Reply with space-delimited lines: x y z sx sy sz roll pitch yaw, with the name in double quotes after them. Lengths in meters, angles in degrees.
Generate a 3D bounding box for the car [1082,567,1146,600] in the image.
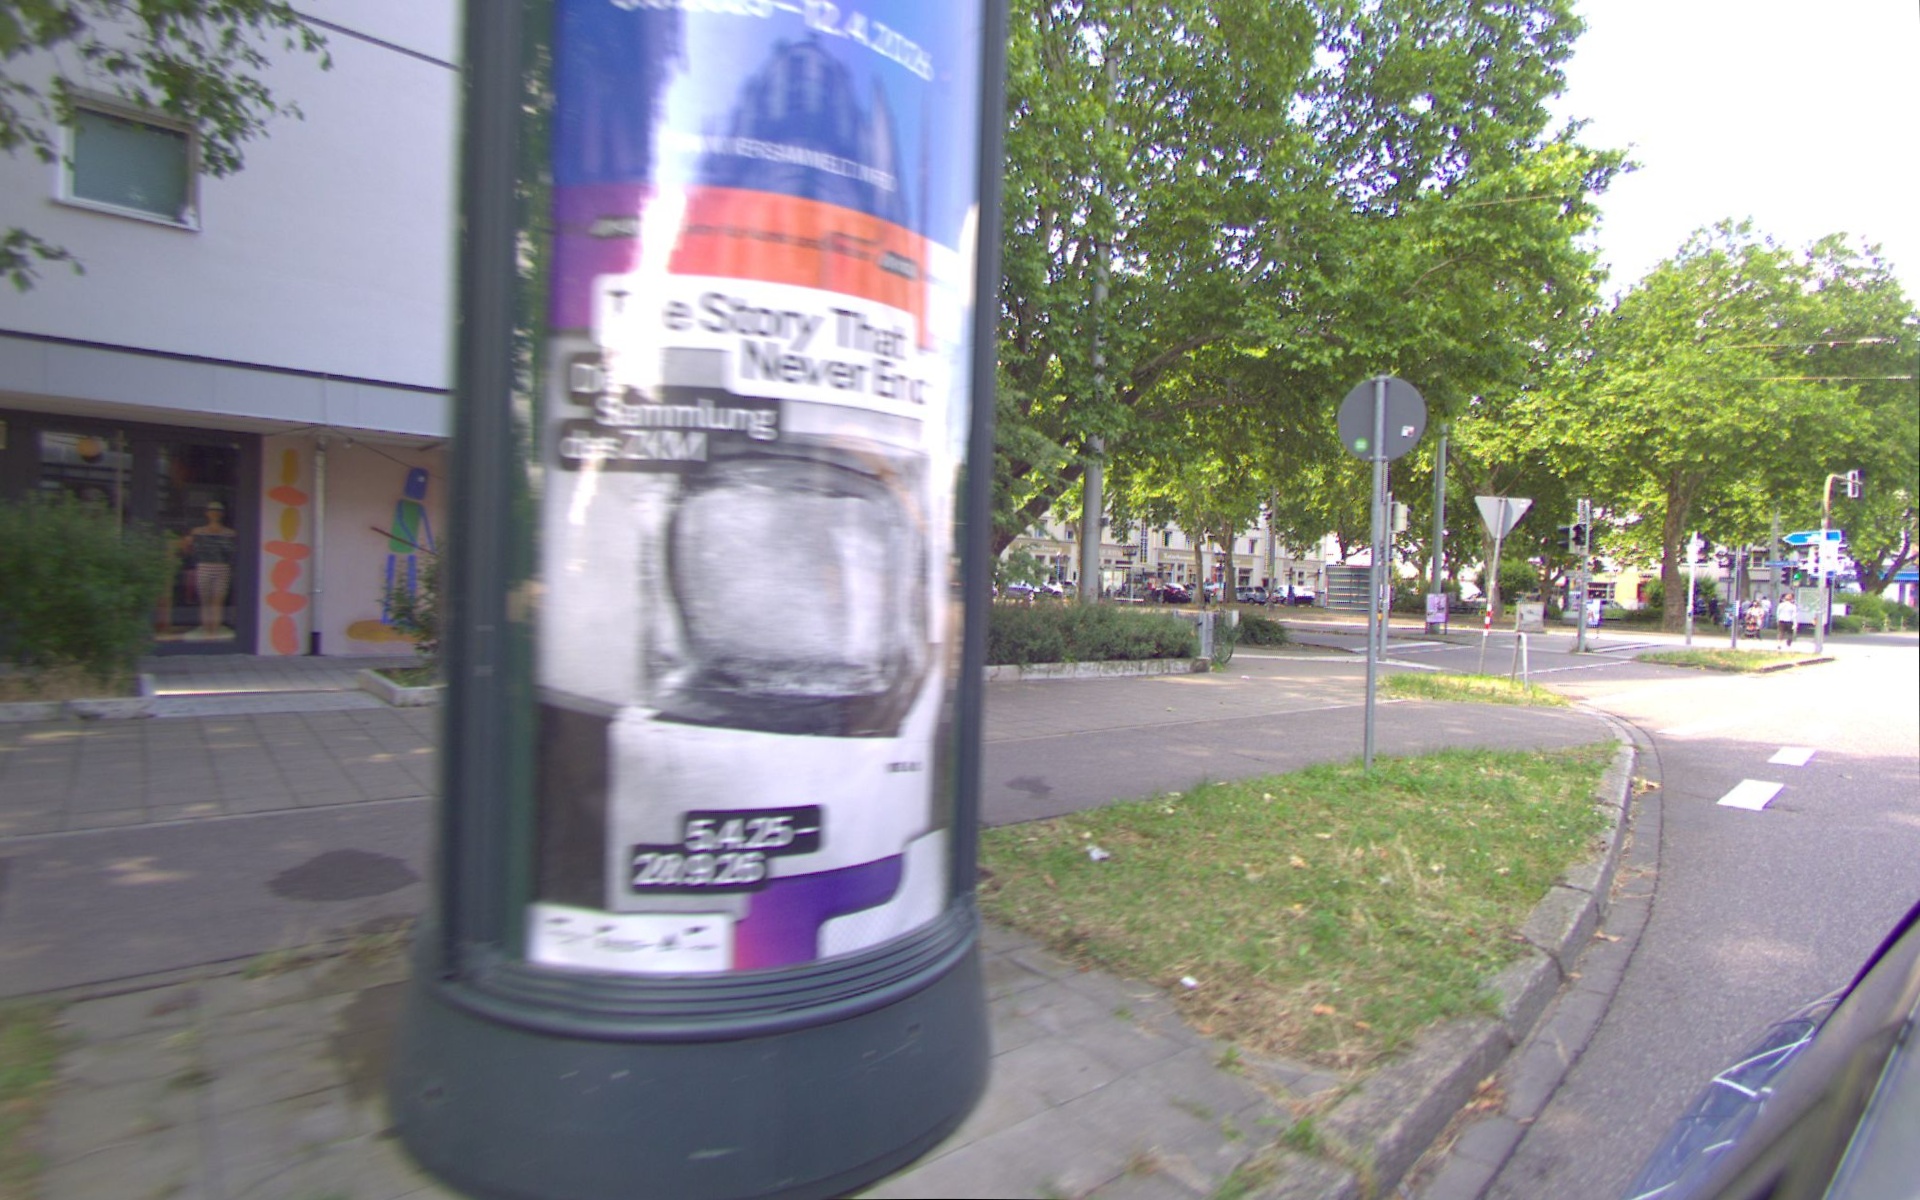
10.827 -1.181 71.415 1.964 2.210 4.254 1 1 -39 "car"

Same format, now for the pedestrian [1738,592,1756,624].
44.614 0.454 57.397 0.600 1.772 0.692 2 1 27 "pedestrian"

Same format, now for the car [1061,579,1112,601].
8.693 -0.678 69.796 3.226 1.406 1.447 3 1 44 "car"

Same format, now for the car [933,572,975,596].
-0.483 -1.215 76.938 1.445 1.687 3.060 1 1 -43 "car"

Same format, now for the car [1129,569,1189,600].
14.692 -1.152 74.702 1.964 2.102 3.997 1 1 -39 "car"

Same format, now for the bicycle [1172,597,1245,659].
4.432 0.476 18.173 0.523 1.022 1.732 2 1 -13 "bicycle"

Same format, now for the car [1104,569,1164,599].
12.594 -1.179 73.423 1.964 2.102 3.997 1 1 -39 "car"

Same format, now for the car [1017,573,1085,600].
6.179 -0.928 68.972 1.878 1.711 4.532 1 2 -41 "car"

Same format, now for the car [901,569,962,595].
-2.161 -1.328 75.301 1.879 1.818 4.713 1 2 -42 "car"

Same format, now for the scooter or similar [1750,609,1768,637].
32.003 0.915 40.546 0.489 1.069 0.698 3 1 41 "scooter or similar"

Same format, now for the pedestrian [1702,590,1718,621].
43.597 0.290 58.840 0.600 1.772 0.692 2 1 27 "pedestrian"

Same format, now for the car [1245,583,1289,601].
31.194 -0.817 102.857 1.712 1.657 3.999 1 1 -37 "car"

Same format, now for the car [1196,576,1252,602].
21.417 -0.899 82.167 1.963 2.039 3.998 1 1 -38 "car"

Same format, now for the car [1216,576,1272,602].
23.426 -0.928 83.585 1.965 2.039 3.995 1 1 -41 "car"

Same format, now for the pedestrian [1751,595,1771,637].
32.562 0.625 41.140 0.568 1.666 0.909 3 1 41 "pedestrian"

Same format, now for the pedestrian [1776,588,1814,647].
26.361 0.536 31.949 0.870 1.805 0.694 1 1 -37 "pedestrian"

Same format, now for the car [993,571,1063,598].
4.473 -1.056 66.781 1.999 1.620 4.532 1 2 -41 "car"

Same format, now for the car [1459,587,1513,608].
48.362 -0.258 93.075 1.835 1.822 3.999 1 1 -37 "car"

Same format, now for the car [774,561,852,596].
-7.711 -1.115 52.886 3.721 1.681 1.847 3 1 32 "car"

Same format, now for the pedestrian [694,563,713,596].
-11.873 -0.929 46.876 0.658 1.497 0.576 2 0 -33 "pedestrian"

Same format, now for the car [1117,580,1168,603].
12.094 -0.555 67.137 3.056 1.406 1.448 3 1 42 "car"

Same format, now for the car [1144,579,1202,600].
16.108 -0.789 76.604 1.964 1.440 3.997 1 1 -39 "car"

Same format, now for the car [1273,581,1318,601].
35.318 -0.985 106.614 1.963 1.988 3.999 1 1 -37 "car"
